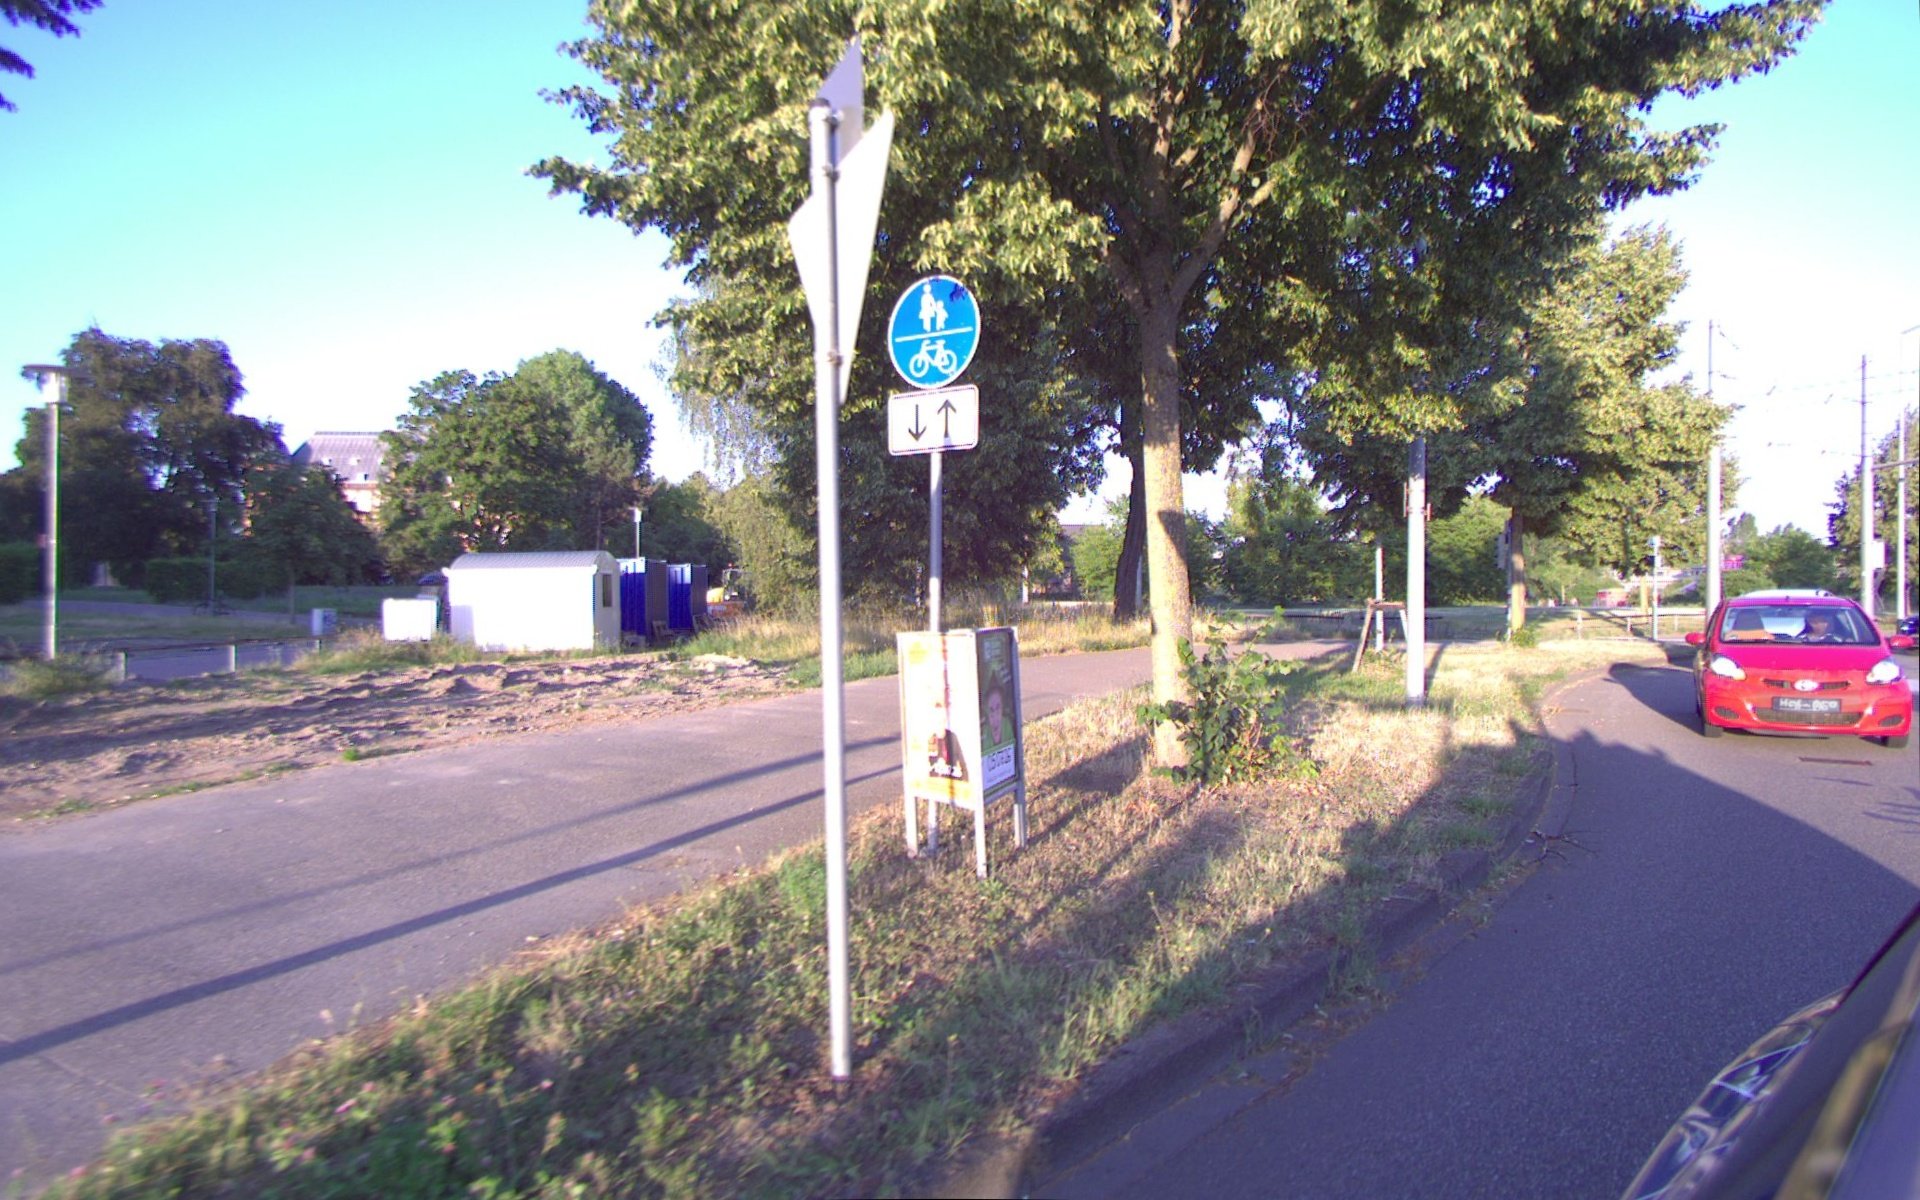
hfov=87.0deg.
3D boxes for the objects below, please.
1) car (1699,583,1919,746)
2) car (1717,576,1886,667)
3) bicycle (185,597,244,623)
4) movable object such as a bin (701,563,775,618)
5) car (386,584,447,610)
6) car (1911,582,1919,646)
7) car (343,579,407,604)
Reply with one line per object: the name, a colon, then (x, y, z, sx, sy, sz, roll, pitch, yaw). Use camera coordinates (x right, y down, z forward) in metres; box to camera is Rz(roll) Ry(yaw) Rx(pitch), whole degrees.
car: (9.164, 0.559, 11.068, 1.684, 1.439, 4.157, -1, 0, 36)
car: (16.222, 0.372, 19.445, 4.139, 1.578, 1.758, 0, 0, -39)
bicycle: (-27.178, 0.374, 36.898, 1.813, 0.890, 0.405, 2, 0, -1)
movable object such as a bin: (-10.193, -0.442, 46.584, 2.781, 2.460, 1.888, 0, 1, 13)
car: (-32.935, -0.195, 61.480, 1.857, 1.505, 3.832, 0, 1, -4)
car: (25.634, 0.361, 24.891, 4.127, 1.578, 1.832, 0, 0, -24)
car: (-35.357, -0.519, 61.285, 1.857, 1.505, 3.832, 0, 1, -4)
